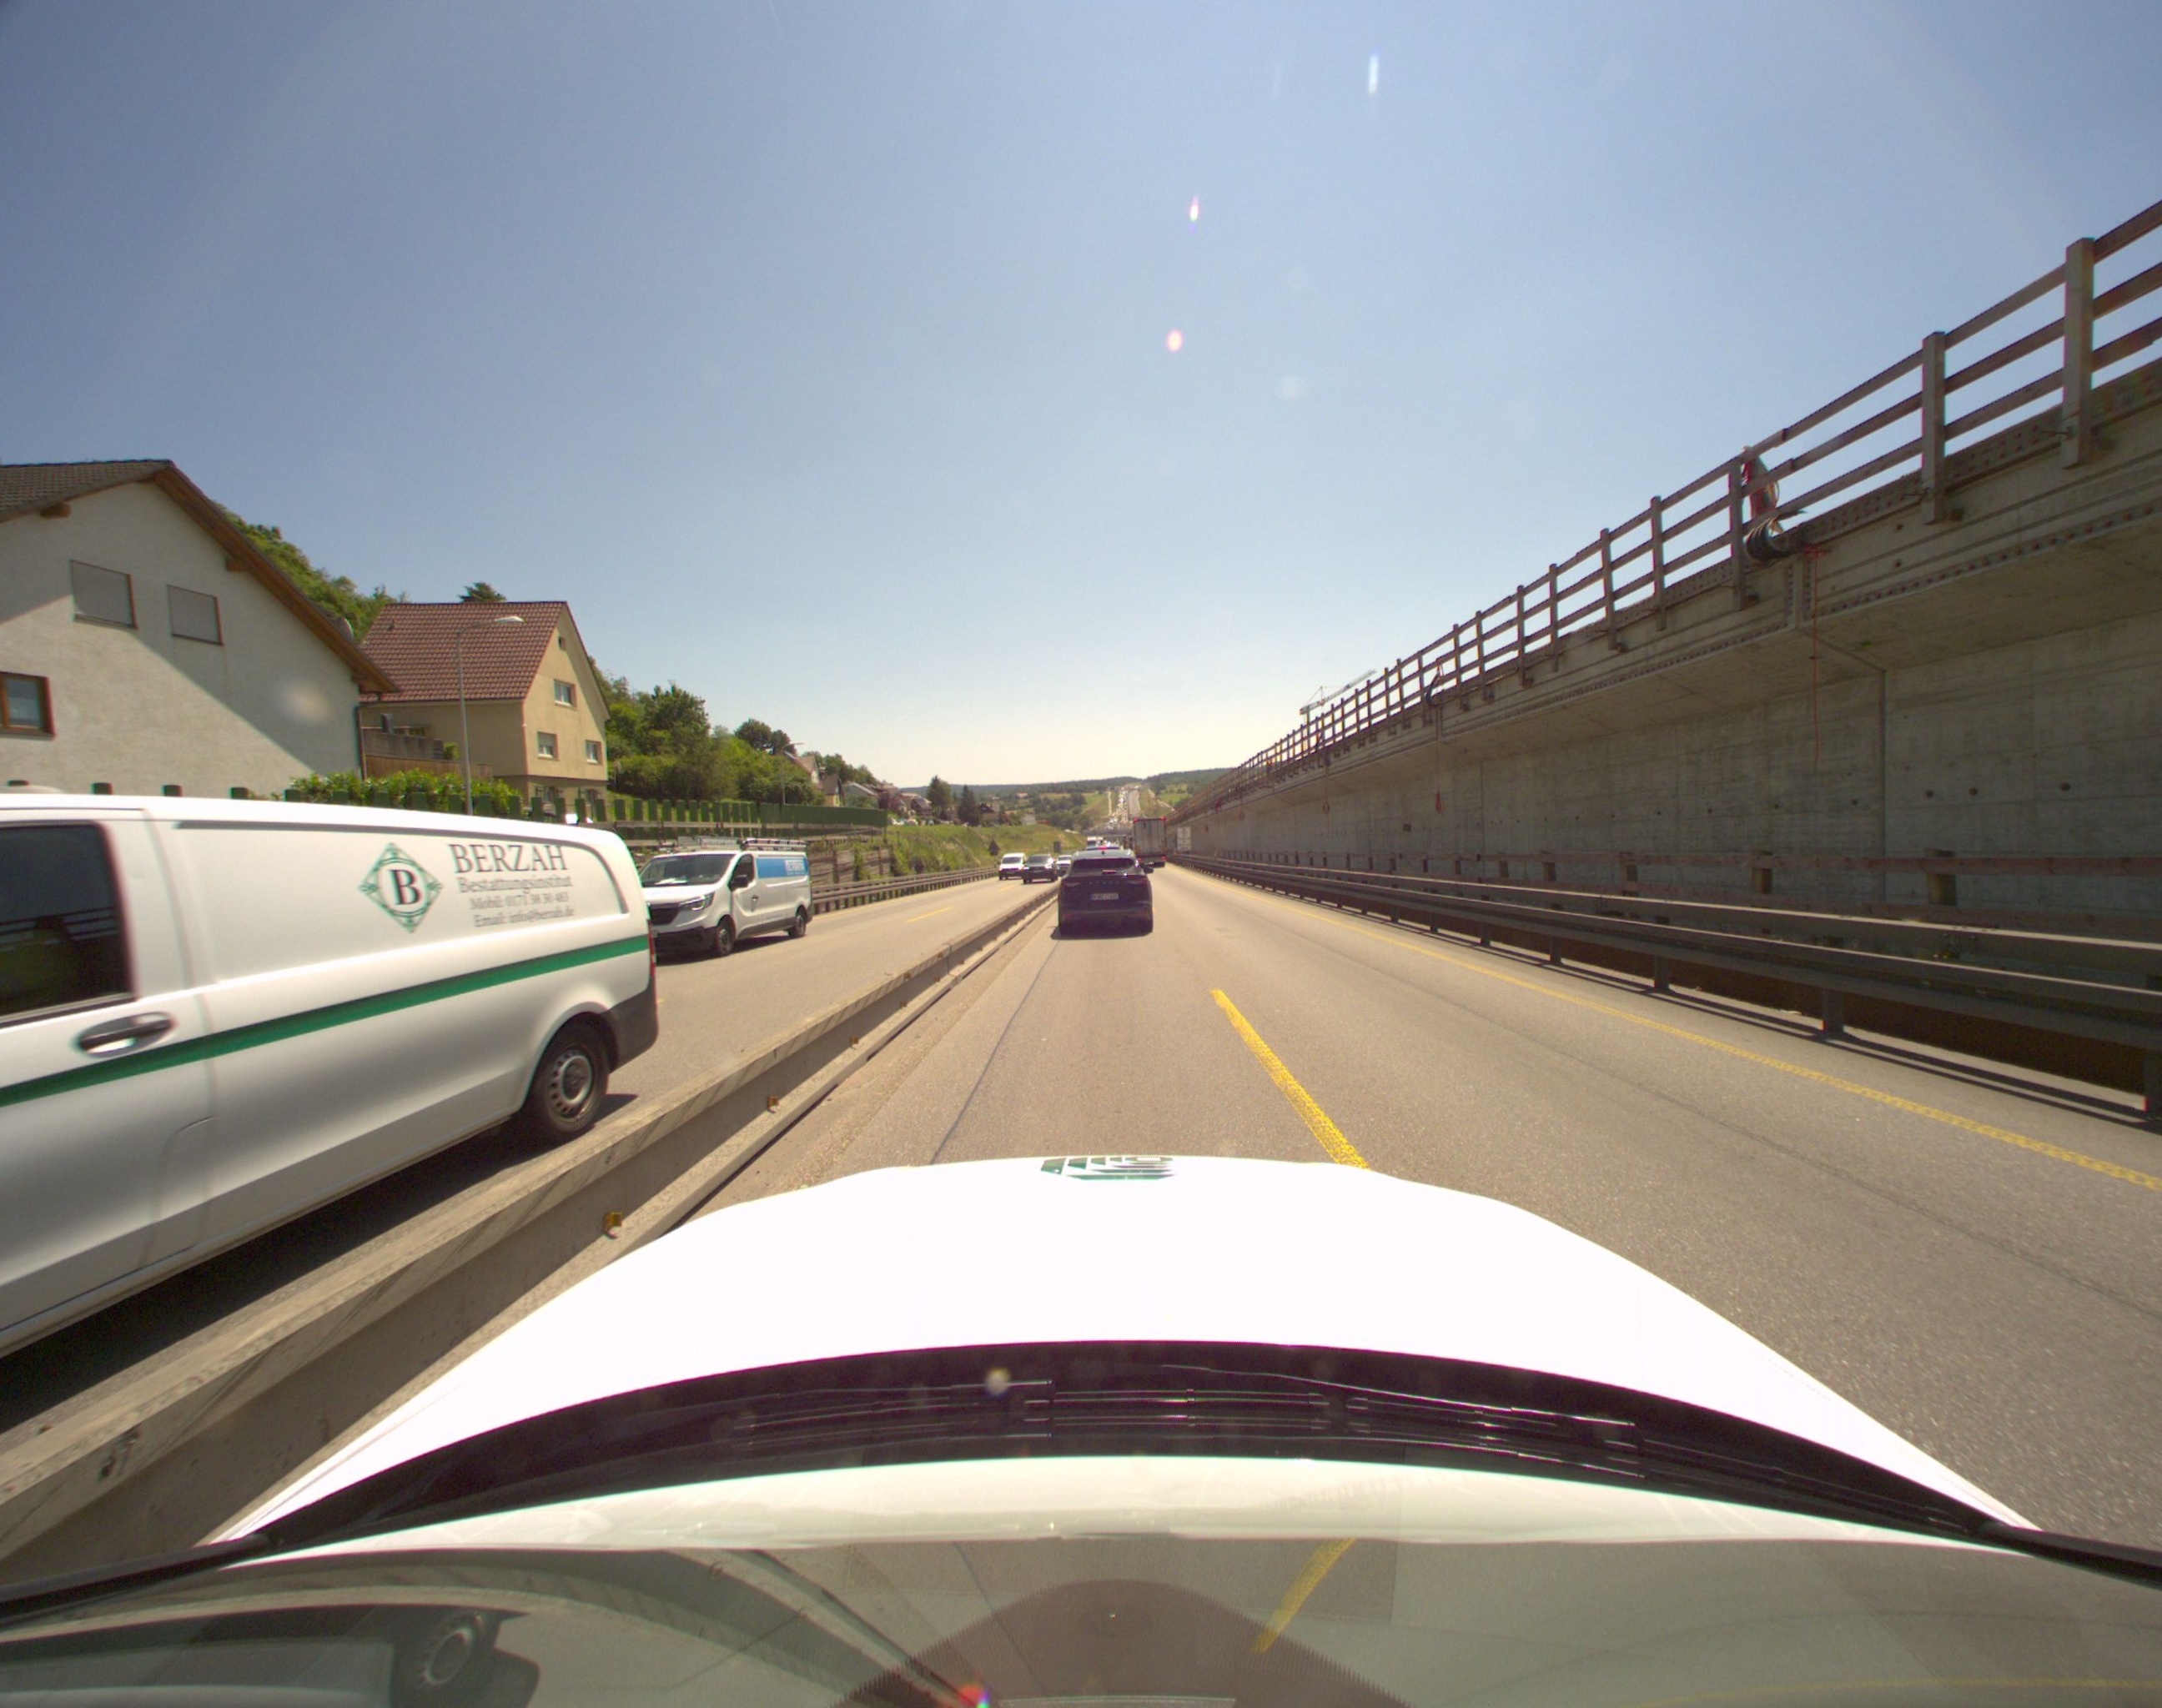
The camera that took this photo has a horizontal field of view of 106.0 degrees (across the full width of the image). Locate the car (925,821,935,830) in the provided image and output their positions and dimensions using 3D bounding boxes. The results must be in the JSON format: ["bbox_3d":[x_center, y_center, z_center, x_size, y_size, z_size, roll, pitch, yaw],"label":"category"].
[{"bbox_3d":[-34.146,-6.397,184.173,1.924,1.728,3.989,-3,0,-8],"label":"car"}]

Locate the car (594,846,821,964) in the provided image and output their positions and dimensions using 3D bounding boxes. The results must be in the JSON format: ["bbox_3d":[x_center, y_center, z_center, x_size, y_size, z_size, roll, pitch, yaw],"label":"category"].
[{"bbox_3d":[-7.052,0.845,16.175,1.817,1.926,5.247,-2,0,3],"label":"car"}]

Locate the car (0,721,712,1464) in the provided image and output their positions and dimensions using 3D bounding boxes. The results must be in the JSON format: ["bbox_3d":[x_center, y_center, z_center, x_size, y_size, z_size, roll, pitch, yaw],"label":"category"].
[{"bbox_3d":[-3.826,0.645,3.183,2.149,1.906,5.328,-2,-1,2],"label":"car"}]

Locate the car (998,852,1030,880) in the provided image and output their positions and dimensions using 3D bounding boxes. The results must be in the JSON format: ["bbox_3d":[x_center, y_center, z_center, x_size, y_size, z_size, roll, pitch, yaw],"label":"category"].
[{"bbox_3d":[-4.712,0.850,57.784,1.590,1.833,4.755,-3,-1,2],"label":"car"}]

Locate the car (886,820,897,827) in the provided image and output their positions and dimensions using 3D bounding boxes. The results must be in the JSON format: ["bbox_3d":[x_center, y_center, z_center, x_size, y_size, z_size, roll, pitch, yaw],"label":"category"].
[{"bbox_3d":[-31.913,-5.158,137.268,1.277,1.038,3.271,-4,0,-3],"label":"car"}]

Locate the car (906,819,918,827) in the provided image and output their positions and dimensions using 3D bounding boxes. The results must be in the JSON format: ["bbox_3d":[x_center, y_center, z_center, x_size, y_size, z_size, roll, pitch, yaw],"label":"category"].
[{"bbox_3d":[-34.104,-6.300,164.554,1.992,1.319,3.988,0,0,-8],"label":"car"}]

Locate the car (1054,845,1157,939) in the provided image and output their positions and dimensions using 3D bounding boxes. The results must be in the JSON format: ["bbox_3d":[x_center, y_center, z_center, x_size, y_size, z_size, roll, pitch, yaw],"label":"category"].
[{"bbox_3d":[0.499,0.691,16.660,1.776,1.597,3.756,-3,0,1],"label":"car"}]

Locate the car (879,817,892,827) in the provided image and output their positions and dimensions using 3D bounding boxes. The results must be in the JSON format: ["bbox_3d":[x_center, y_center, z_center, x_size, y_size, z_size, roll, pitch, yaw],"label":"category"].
[{"bbox_3d":[-31.886,-5.202,132.705,1.732,1.398,3.778,-1,0,-18],"label":"car"}]

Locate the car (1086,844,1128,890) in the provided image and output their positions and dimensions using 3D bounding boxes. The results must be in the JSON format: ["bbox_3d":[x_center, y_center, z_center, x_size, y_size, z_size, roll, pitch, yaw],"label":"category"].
[{"bbox_3d":[1.114,0.555,36.646,1.743,1.895,3.755,-1,0,0],"label":"car"}]

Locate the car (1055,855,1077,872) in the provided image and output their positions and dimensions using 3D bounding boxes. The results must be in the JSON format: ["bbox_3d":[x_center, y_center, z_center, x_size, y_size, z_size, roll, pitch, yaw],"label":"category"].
[{"bbox_3d":[-1.318,0.837,72.882,1.726,1.437,4.260,-2,-1,1],"label":"car"}]

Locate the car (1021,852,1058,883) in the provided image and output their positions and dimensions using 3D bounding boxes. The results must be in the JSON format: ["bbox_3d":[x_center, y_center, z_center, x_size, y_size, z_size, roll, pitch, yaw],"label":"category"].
[{"bbox_3d":[-2.385,0.757,47.584,1.768,1.633,4.102,-2,0,2],"label":"car"}]

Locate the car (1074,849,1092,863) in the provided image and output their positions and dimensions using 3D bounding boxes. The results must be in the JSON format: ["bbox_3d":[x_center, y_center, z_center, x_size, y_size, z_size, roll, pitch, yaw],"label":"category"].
[{"bbox_3d":[0.258,0.299,94.731,1.599,1.446,4.676,-6,-1,5],"label":"car"}]

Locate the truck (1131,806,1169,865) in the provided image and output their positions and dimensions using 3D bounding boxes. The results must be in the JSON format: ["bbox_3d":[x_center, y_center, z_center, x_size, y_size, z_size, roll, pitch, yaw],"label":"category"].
[{"bbox_3d":[5.881,-1.464,71.174,2.834,4.615,11.820,-3,-1,3],"label":"truck"}]

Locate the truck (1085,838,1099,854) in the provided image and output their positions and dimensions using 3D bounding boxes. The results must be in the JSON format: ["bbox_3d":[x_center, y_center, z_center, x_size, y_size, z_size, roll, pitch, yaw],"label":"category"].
[{"bbox_3d":[3.187,-2.213,230.843,3.176,4.238,6.472,-3,-1,-5],"label":"truck"}]
